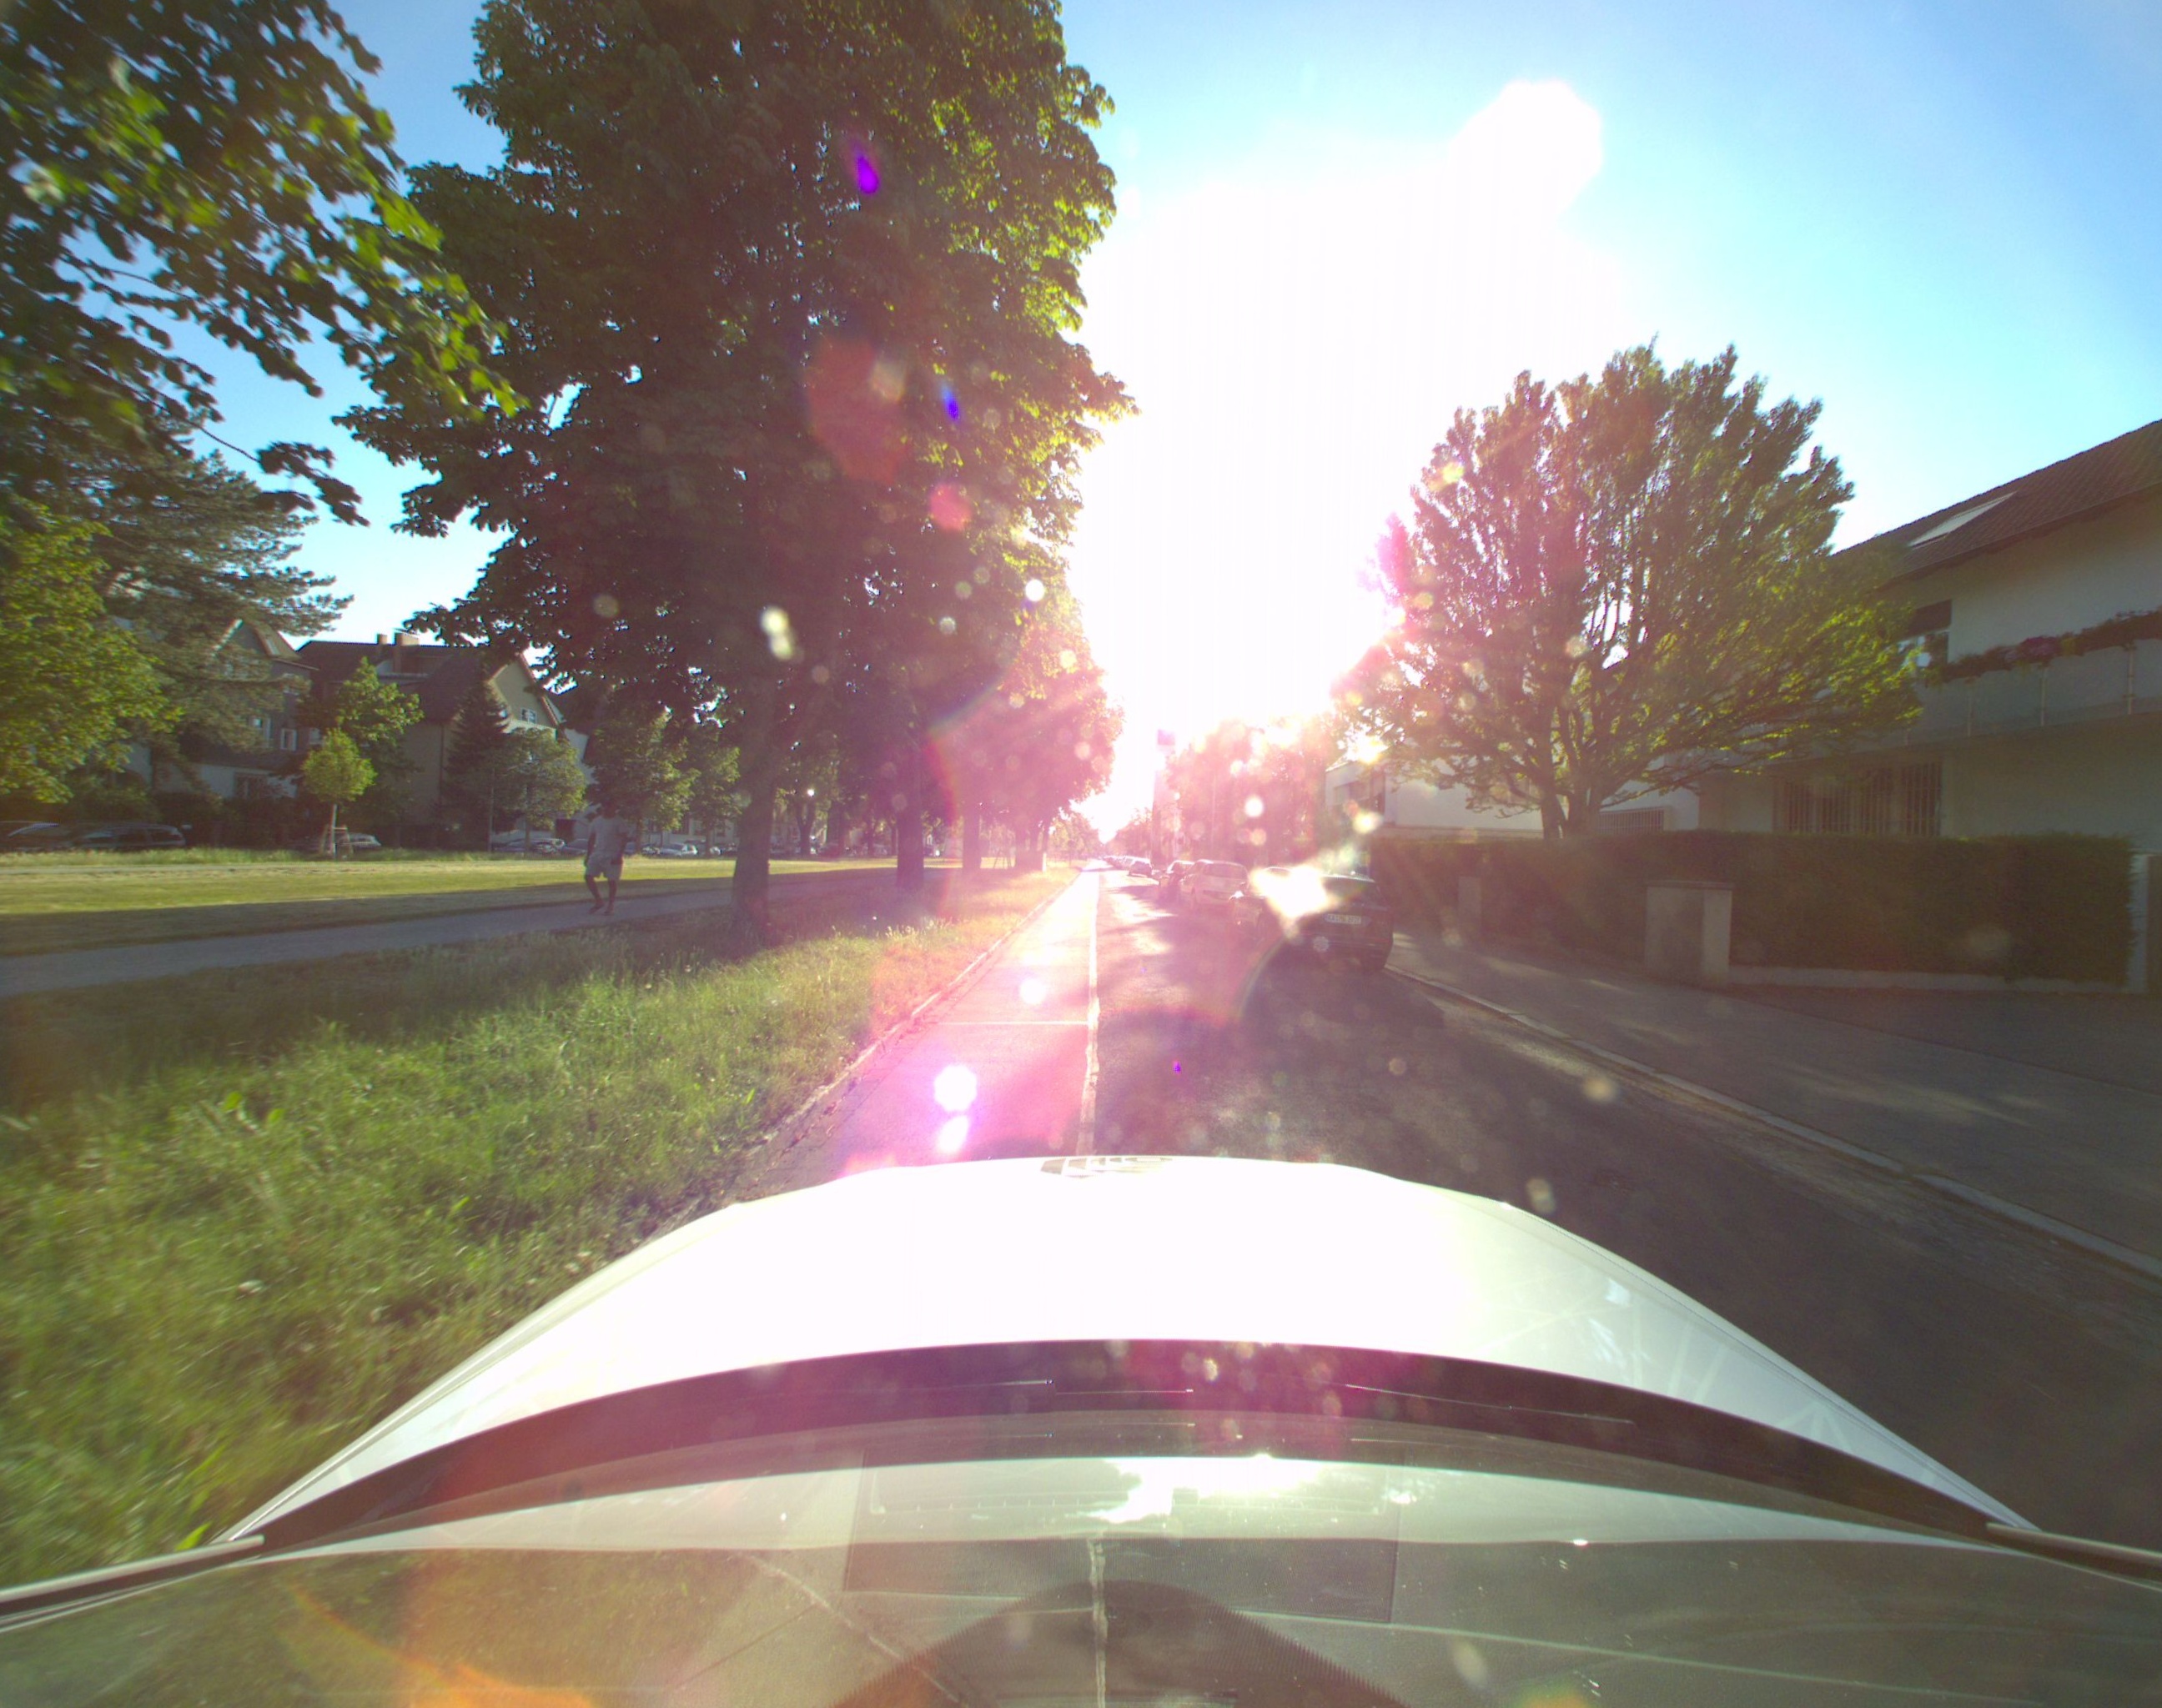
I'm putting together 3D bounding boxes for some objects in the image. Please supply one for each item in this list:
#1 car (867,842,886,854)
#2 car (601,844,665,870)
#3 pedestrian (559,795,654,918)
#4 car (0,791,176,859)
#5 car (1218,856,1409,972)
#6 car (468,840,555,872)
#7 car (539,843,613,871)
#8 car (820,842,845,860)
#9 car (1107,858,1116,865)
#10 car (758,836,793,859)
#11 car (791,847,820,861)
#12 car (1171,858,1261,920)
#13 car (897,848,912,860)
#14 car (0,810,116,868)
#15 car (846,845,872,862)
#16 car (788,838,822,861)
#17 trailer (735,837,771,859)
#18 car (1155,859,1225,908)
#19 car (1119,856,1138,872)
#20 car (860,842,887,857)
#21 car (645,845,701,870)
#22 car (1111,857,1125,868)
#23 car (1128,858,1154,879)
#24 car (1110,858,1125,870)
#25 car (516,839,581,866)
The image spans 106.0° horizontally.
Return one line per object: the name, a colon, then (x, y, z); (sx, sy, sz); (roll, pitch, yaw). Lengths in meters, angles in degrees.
car: (-36.831, -1.127, 146.908); (1.987, 2.013, 4.486); (-4, 1, 1)
car: (-32.206, 0.249, 58.678); (1.985, 1.721, 4.257); (2, -1, 2)
pedestrian: (-7.120, 0.039, 12.263); (0.720, 1.758, 0.995); (2, 0, 7)
car: (-33.226, -0.903, 26.890); (1.986, 2.013, 4.001); (4, 0, 2)
car: (3.530, 0.841, 13.298); (1.787, 1.492, 4.674); (2, -1, 1)
car: (-32.949, 0.149, 47.269); (1.985, 1.684, 4.003); (2, -1, 4)
car: (-32.562, 0.233, 52.670); (1.985, 1.684, 4.003); (2, -1, 4)
car: (-31.458, -0.330, 103.266); (1.678, 2.175, 4.316); (2, 0, 2)
car: (7.165, 1.754, 191.142); (1.973, 1.683, 4.002); (2, -1, 2)
car: (-37.161, -0.782, 99.215); (1.986, 2.673, 5.188); (2, -1, 2)
car: (-31.420, -0.002, 93.047); (1.678, 1.560, 4.316); (2, -1, 2)
car: (3.816, 0.945, 23.723); (1.687, 1.483, 3.925); (6, 0, -3)
car: (-35.947, -0.031, 165.643); (1.986, 2.409, 4.364); (0, -1, 2)
car: (-38.523, -0.544, 29.586); (1.985, 2.014, 4.003); (2, 0, 3)
car: (-31.110, 0.003, 114.230); (1.986, 2.250, 5.188); (2, -1, 1)
car: (-37.124, -0.562, 109.633); (2.429, 2.922, 5.819); (0, -1, 1)
trailer: (-37.303, -0.657, 92.858); (1.986, 2.428, 4.725); (2, -1, 2)
car: (3.753, 0.986, 28.735); (1.744, 1.477, 4.285); (4, 0, -1)
car: (5.178, 1.079, 89.193); (1.753, 1.605, 4.358); (2, 0, 0)
car: (-31.040, -0.684, 121.921); (2.525, 2.236, 5.461); (1, 0, 2)
car: (-32.112, 0.316, 64.211); (1.985, 1.860, 4.257); (2, -1, 2)
car: (5.406, 1.270, 119.867); (1.755, 1.521, 3.999); (3, -1, 0)
car: (4.834, 1.154, 65.976); (1.750, 1.420, 4.073); (8, 0, 2)
car: (4.858, 1.307, 109.644); (1.753, 1.605, 4.358); (2, 0, 0)
car: (-38.178, -0.087, 58.533); (1.988, 1.783, 3.998); (2, -1, -1)
